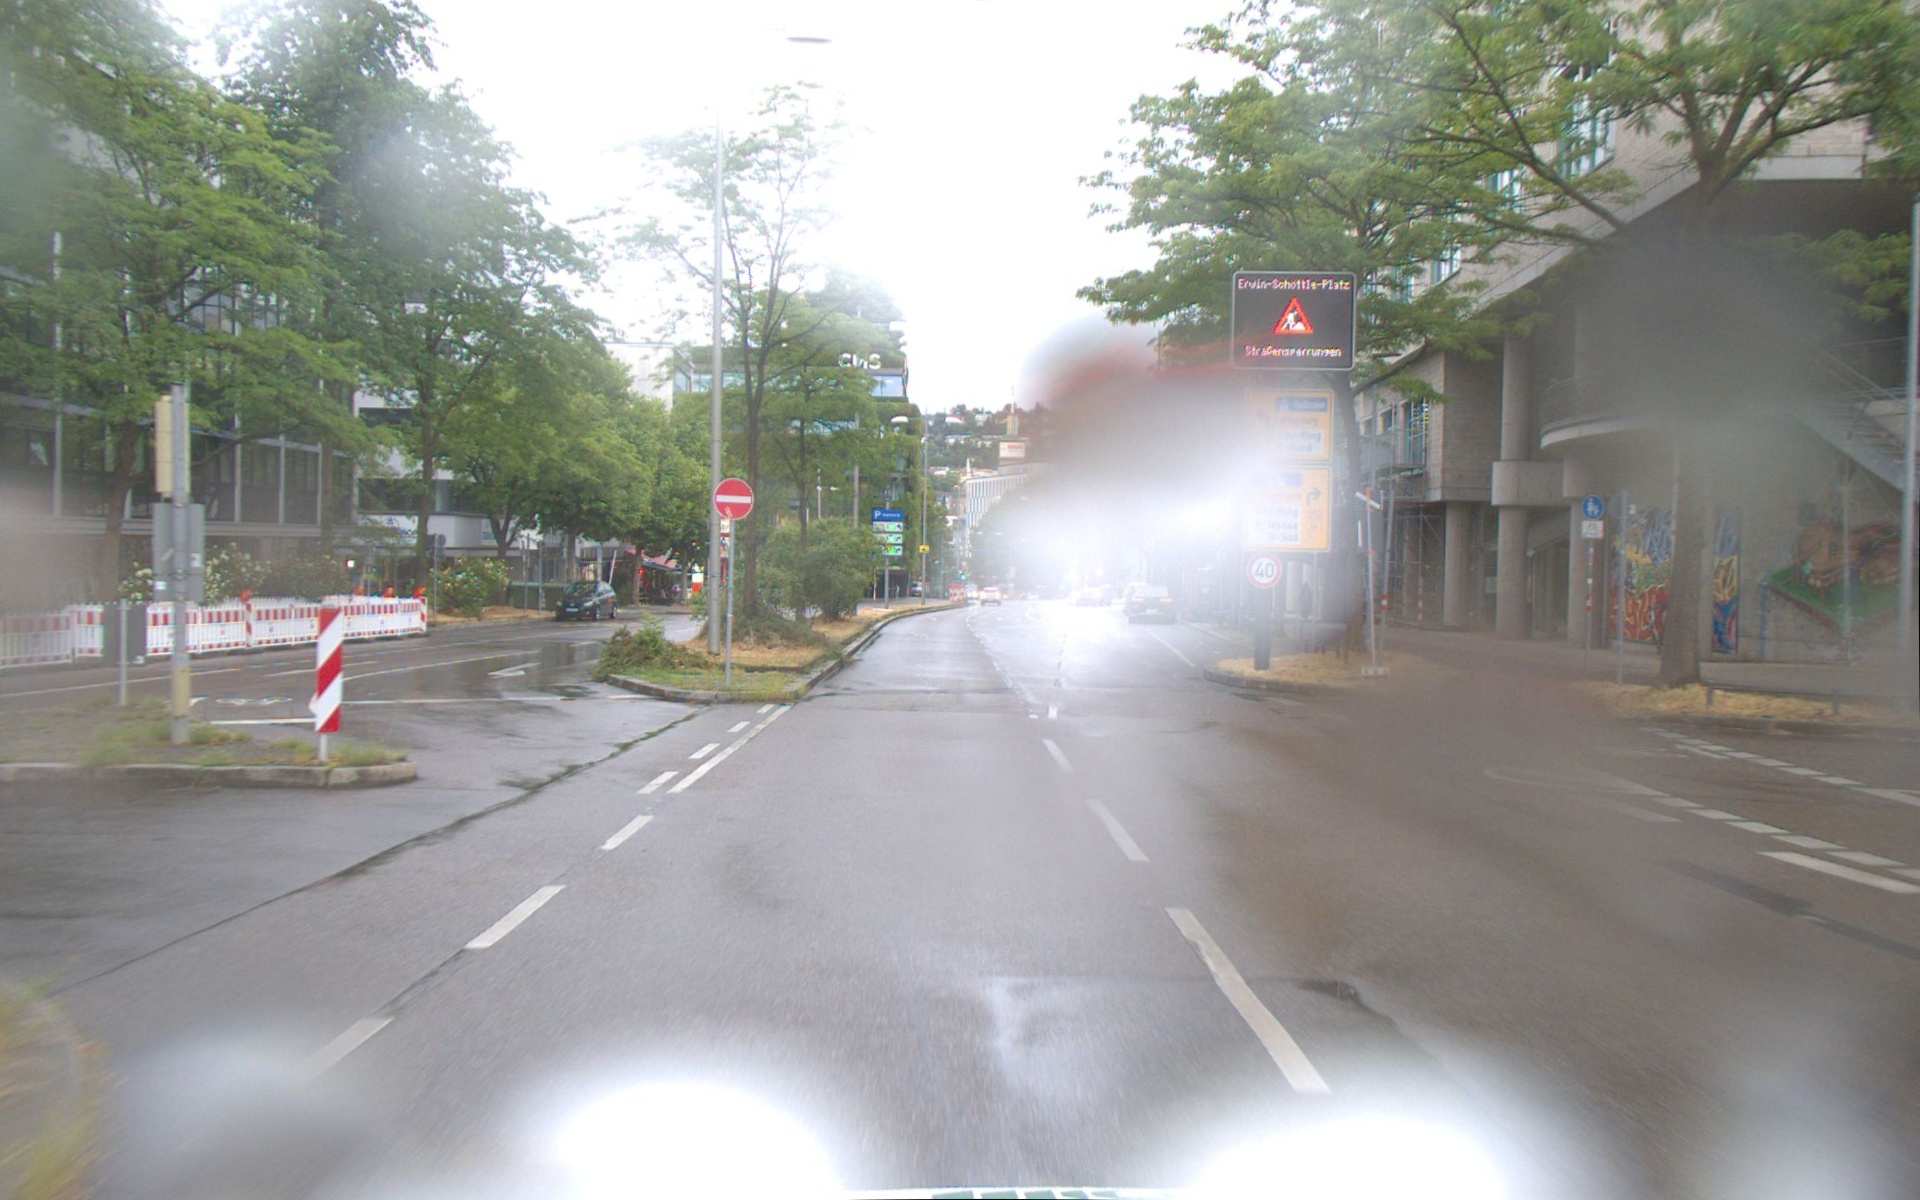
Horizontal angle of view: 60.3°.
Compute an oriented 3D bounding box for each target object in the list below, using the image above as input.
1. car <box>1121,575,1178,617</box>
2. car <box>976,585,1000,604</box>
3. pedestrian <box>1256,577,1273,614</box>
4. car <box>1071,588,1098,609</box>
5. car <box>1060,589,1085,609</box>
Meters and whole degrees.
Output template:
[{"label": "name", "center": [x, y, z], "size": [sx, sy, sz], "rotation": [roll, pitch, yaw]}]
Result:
[{"label": "car", "center": [7.956, -0.163, 69.534], "size": [2.288, 1.721, 4.003], "rotation": [0, 0, 6]}, {"label": "car", "center": [2.546, -0.514, 152.852], "size": [1.792, 1.668, 4.297], "rotation": [1, 0, -4]}, {"label": "pedestrian", "center": [16.427, -0.239, 89.278], "size": [0.759, 1.954, 0.702], "rotation": [0, -1, -2]}, {"label": "car", "center": [10.659, -0.100, 141.795], "size": [1.953, 1.754, 3.998], "rotation": [0, -1, -2]}, {"label": "car", "center": [10.376, -0.082, 152.953], "size": [1.953, 1.766, 3.999], "rotation": [0, -1, -1]}]
